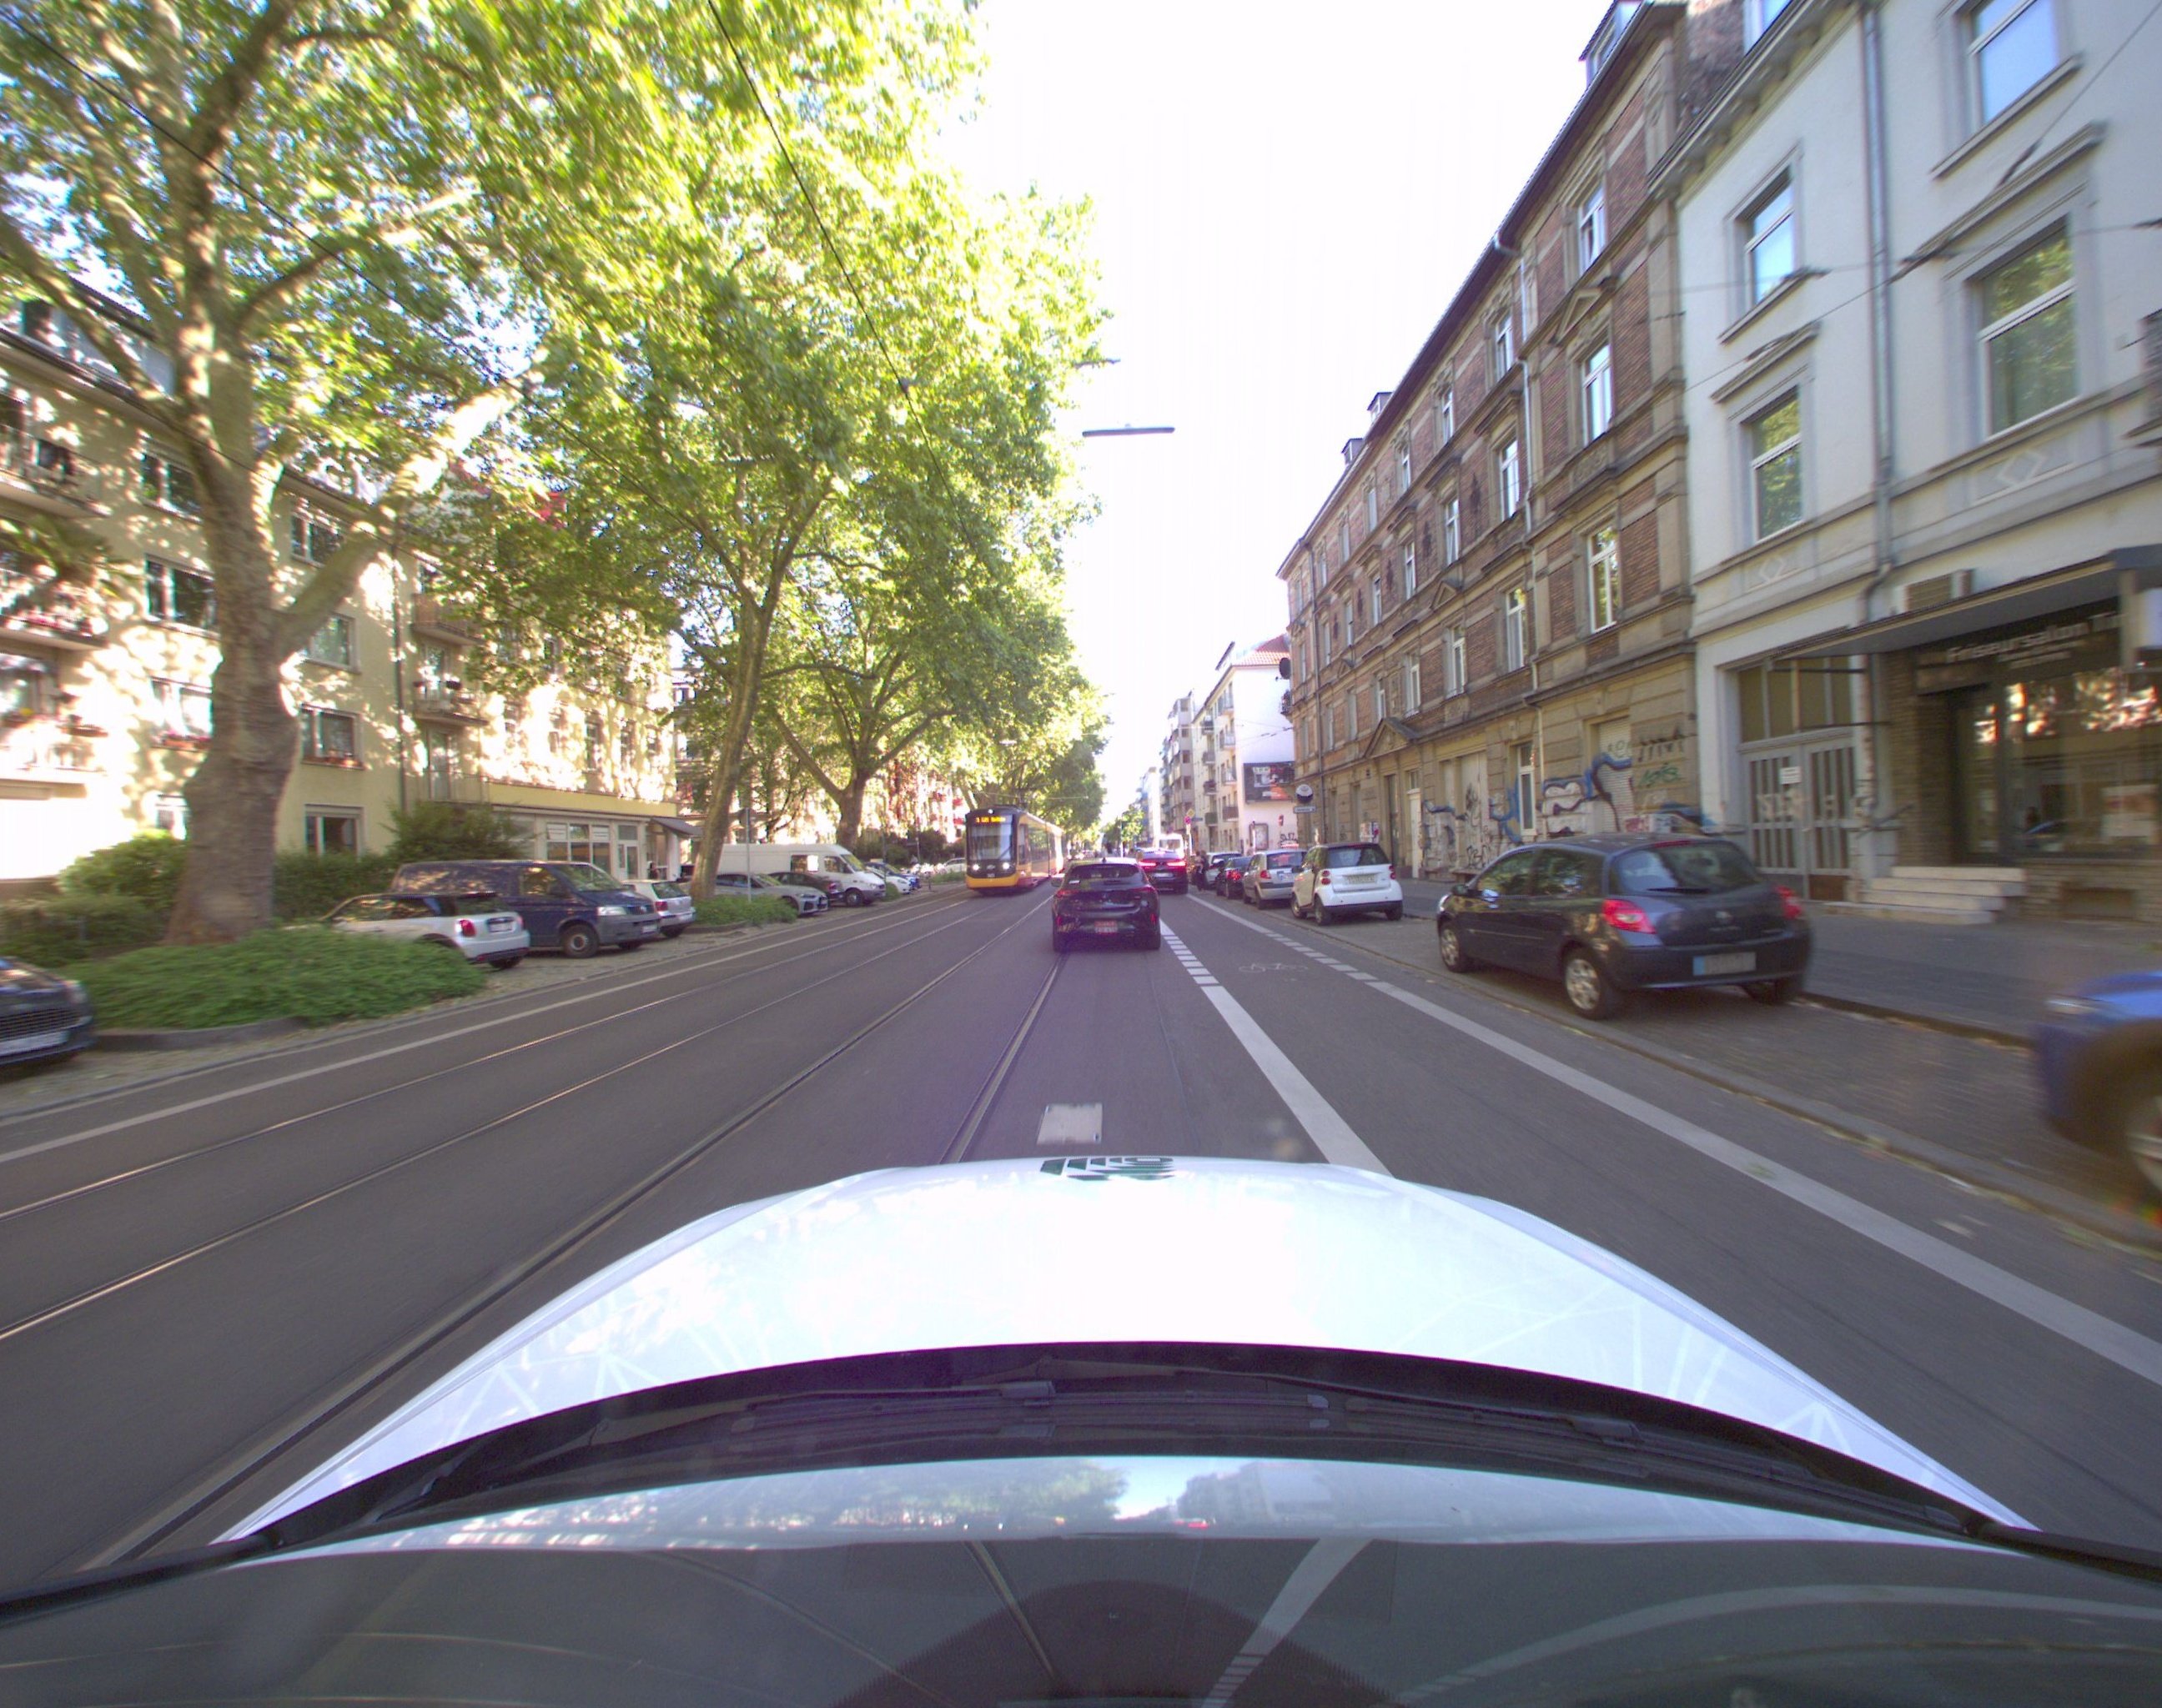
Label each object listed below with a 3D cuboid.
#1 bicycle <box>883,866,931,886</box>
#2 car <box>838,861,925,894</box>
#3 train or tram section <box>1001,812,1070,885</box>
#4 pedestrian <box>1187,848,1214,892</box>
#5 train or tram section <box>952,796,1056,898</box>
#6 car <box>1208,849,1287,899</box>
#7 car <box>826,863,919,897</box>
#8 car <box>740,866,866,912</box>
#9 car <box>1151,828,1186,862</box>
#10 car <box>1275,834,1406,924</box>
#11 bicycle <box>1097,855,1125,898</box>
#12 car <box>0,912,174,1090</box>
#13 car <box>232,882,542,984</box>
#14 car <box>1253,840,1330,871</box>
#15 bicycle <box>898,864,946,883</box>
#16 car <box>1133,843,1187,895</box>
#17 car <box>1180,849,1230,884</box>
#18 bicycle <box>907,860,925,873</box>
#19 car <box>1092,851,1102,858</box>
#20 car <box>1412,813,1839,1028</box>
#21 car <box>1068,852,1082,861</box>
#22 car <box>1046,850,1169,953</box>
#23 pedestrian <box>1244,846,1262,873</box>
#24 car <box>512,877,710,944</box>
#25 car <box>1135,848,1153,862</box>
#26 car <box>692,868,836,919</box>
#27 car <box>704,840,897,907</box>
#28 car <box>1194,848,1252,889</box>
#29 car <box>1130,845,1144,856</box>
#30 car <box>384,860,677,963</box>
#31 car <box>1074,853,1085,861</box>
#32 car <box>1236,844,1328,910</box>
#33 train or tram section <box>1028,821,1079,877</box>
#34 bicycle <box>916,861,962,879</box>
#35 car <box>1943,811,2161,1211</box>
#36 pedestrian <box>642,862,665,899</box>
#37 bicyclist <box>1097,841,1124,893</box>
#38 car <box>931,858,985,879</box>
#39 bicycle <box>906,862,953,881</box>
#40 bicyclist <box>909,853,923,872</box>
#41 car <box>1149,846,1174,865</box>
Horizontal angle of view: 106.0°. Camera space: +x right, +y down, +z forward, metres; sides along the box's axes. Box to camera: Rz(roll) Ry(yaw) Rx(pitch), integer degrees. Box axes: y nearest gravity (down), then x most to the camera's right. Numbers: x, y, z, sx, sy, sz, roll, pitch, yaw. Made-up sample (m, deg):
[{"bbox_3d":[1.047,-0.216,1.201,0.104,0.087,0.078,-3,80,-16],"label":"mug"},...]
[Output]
[{"bbox_3d":[-11.284,1.427,52.853,2.919,1.169,0.995,-2,0,18],"label":"bicycle"},{"bbox_3d":[-9.952,1.149,40.833,3.909,1.577,1.676,-1,0,-2],"label":"car"},{"bbox_3d":[-2.513,-0.305,49.481,2.724,3.681,12.725,-3,0,3],"label":"train or tram section"},{"bbox_3d":[4.347,0.577,29.633,0.862,1.567,0.769,-2,0,4],"label":"pedestrian"},{"bbox_3d":[-3.094,-0.272,36.789,2.724,3.681,12.725,-3,0,3],"label":"train or tram section"},{"bbox_3d":[5.292,0.594,26.286,1.803,1.338,3.936,-6,0,3],"label":"car"},{"bbox_3d":[-9.775,1.211,38.369,3.909,1.498,1.676,-1,0,-2],"label":"car"},{"bbox_3d":[-9.861,1.218,29.093,3.909,1.498,1.676,-1,0,-2],"label":"car"},{"bbox_3d":[6.302,-0.642,59.323,2.067,2.219,4.937,-6,0,3],"label":"car"},{"bbox_3d":[5.191,0.470,16.670,1.563,1.517,3.039,-6,0,-1],"label":"car"},{"bbox_3d":[1.039,0.758,28.478,0.857,1.407,2.524,-2,0,0],"label":"bicycle"},{"bbox_3d":[-11.137,1.325,7.316,3.907,1.421,1.818,-1,0,0],"label":"car"},{"bbox_3d":[-11.538,1.281,13.730,3.721,1.498,1.747,-1,0,1],"label":"car"},{"bbox_3d":[13.388,0.082,51.951,4.363,1.798,1.876,-2,0,0],"label":"car"},{"bbox_3d":[-10.573,1.290,54.165,2.919,1.169,0.995,-2,0,18],"label":"bicycle"},{"bbox_3d":[2.900,0.522,30.543,1.802,1.742,3.936,-2,0,3],"label":"car"},{"bbox_3d":[5.773,0.542,38.216,1.803,1.379,3.936,-6,0,3],"label":"car"},{"bbox_3d":[-15.320,1.137,75.646,0.984,1.169,2.951,-2,0,0],"label":"bicycle"},{"bbox_3d":[3.125,0.090,162.017,1.803,1.338,3.935,-2,0,2],"label":"car"},{"bbox_3d":[4.943,0.509,8.137,1.704,1.483,3.765,-6,0,1],"label":"car"},{"bbox_3d":[-0.894,0.389,121.954,1.802,1.338,3.936,-2,0,3],"label":"car"},{"bbox_3d":[0.436,0.708,13.928,1.787,1.441,3.532,-2,1,1],"label":"car"},{"bbox_3d":[10.280,0.310,48.605,0.863,1.567,0.768,-2,0,0],"label":"pedestrian"},{"bbox_3d":[-11.071,1.303,19.355,3.721,1.430,1.638,-1,0,1],"label":"car"},{"bbox_3d":[7.024,0.090,91.426,1.803,1.338,3.936,-6,0,3],"label":"car"},{"bbox_3d":[-10.084,1.234,26.048,3.904,1.498,1.678,-1,0,2],"label":"car"},{"bbox_3d":[-10.787,0.736,31.752,6.603,2.409,2.459,-1,0,1],"label":"car"},{"bbox_3d":[5.652,0.545,32.812,1.655,1.419,3.935,-6,0,2],"label":"car"},{"bbox_3d":[7.520,-0.478,109.602,1.803,1.338,3.936,-6,0,3],"label":"car"},{"bbox_3d":[-11.094,1.118,16.651,4.656,1.924,1.981,-1,0,2],"label":"car"},{"bbox_3d":[-0.311,0.611,153.373,1.803,1.338,3.936,-6,0,3],"label":"car"},{"bbox_3d":[5.255,0.546,21.725,1.697,1.456,3.702,-6,0,5],"label":"car"},{"bbox_3d":[-1.907,-0.366,62.196,2.724,3.681,12.725,-3,0,3],"label":"train or tram section"},{"bbox_3d":[-9.798,1.109,56.194,2.919,1.169,0.995,-2,0,18],"label":"bicycle"},{"bbox_3d":[4.886,0.539,1.716,1.872,1.456,4.028,-6,0,3],"label":"car"},{"bbox_3d":[-17.610,1.102,33.570,0.660,1.498,0.626,-1,0,-9],"label":"pedestrian"},{"bbox_3d":[1.014,0.449,28.387,0.845,1.740,1.162,-2,0,0],"label":"bicyclist"},{"bbox_3d":[-9.450,1.107,62.725,3.909,1.498,1.676,-1,0,-2],"label":"car"},{"bbox_3d":[-10.271,1.186,55.201,2.919,1.169,0.995,-2,0,18],"label":"bicycle"},{"bbox_3d":[-15.317,0.777,75.678,0.984,1.756,1.154,-2,0,-1],"label":"bicyclist"},{"bbox_3d":[6.718,0.093,68.127,1.803,1.338,3.936,-6,0,3],"label":"car"}]
